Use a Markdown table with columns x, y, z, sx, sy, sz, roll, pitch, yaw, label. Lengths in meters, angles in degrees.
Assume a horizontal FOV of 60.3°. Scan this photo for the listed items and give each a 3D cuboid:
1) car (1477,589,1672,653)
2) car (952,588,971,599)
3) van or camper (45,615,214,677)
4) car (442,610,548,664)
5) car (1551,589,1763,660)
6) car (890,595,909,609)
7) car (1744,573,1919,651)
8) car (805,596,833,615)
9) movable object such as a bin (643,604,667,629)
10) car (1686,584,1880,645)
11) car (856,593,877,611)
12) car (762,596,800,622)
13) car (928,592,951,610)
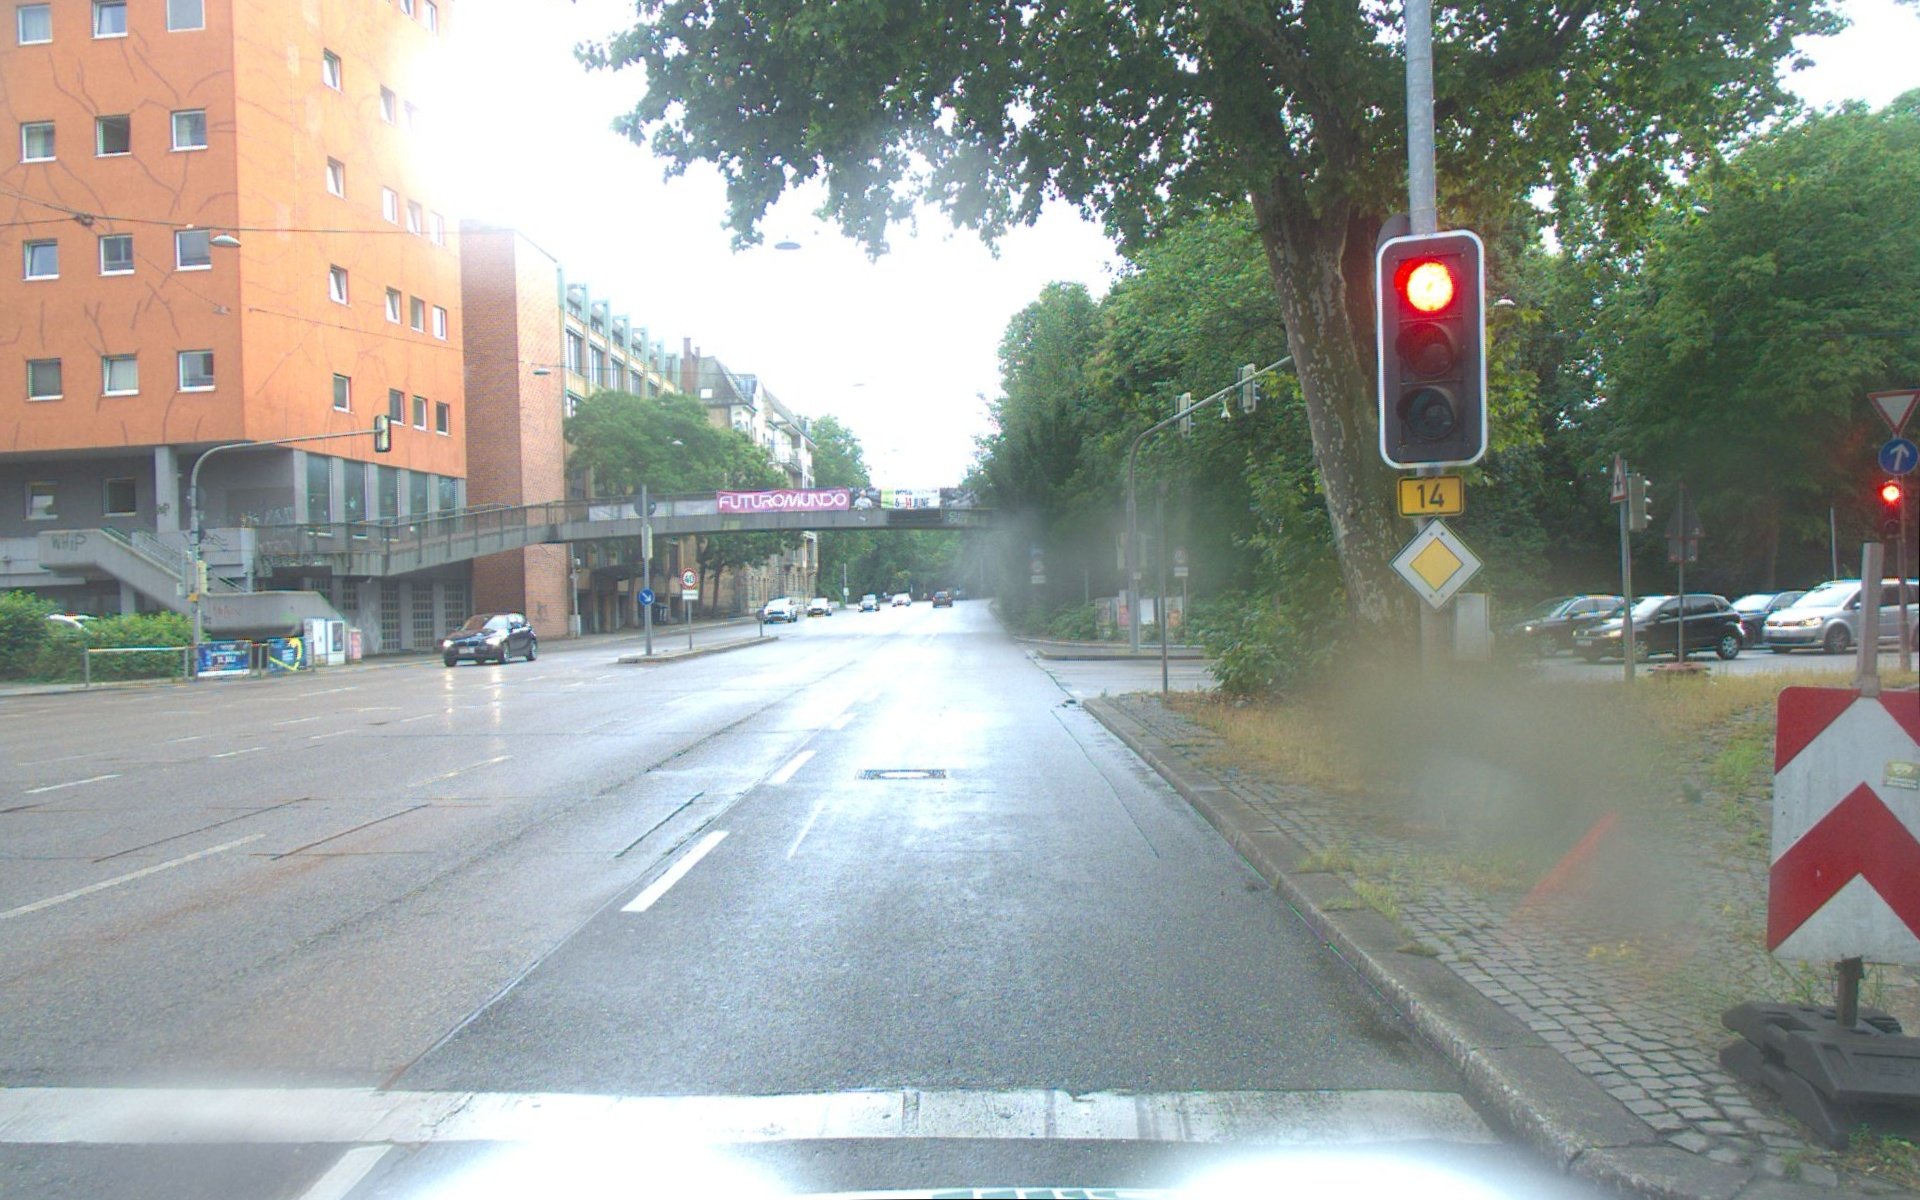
| x | y | z | sx | sy | sz | roll | pitch | yaw | label |
| --- | --- | --- | --- | --- | --- | --- | --- | --- | --- |
| 14.937 | 0.513 | 40.279 | 4.131 | 1.466 | 1.941 | 1 | 0 | -17 | car |
| 0.251 | -0.972 | 238.787 | 1.812 | 1.478 | 3.761 | 1 | 0 | -16 | car |
| -23.980 | 1.305 | 47.819 | 3.902 | 1.656 | 1.915 | -1 | 0 | 5 | van or camper |
| -13.349 | 1.039 | 47.702 | 1.651 | 1.444 | 4.216 | -2 | -1 | 2 | car |
| 15.369 | 0.544 | 36.505 | 4.119 | 1.486 | 1.785 | 1 | 0 | -17 | car |
| -6.635 | 0.214 | 182.673 | 1.793 | 1.418 | 4.405 | -3 | 0 | 1 | car |
| 20.646 | 0.297 | 38.510 | 4.129 | 1.709 | 1.898 | 1 | 0 | -17 | car |
| -11.444 | 0.473 | 134.540 | 1.673 | 1.490 | 4.042 | -2 | 0 | 2 | car |
| -19.687 | 1.050 | 106.797 | 1.256 | 1.545 | 1.273 | -1 | 0 | 1 | movable object such as a bin |
| 20.856 | 0.372 | 41.925 | 4.361 | 1.427 | 1.821 | 1 | 0 | -17 | car |
| -8.305 | 0.181 | 147.591 | 1.648 | 1.461 | 3.862 | -2 | 0 | 0 | car |
| -11.882 | 0.573 | 109.988 | 1.850 | 1.638 | 4.457 | -1 | 0 | 2 | car |
| -1.958 | 0.085 | 157.385 | 1.963 | 1.672 | 4.377 | -1 | 0 | 2 | car |
